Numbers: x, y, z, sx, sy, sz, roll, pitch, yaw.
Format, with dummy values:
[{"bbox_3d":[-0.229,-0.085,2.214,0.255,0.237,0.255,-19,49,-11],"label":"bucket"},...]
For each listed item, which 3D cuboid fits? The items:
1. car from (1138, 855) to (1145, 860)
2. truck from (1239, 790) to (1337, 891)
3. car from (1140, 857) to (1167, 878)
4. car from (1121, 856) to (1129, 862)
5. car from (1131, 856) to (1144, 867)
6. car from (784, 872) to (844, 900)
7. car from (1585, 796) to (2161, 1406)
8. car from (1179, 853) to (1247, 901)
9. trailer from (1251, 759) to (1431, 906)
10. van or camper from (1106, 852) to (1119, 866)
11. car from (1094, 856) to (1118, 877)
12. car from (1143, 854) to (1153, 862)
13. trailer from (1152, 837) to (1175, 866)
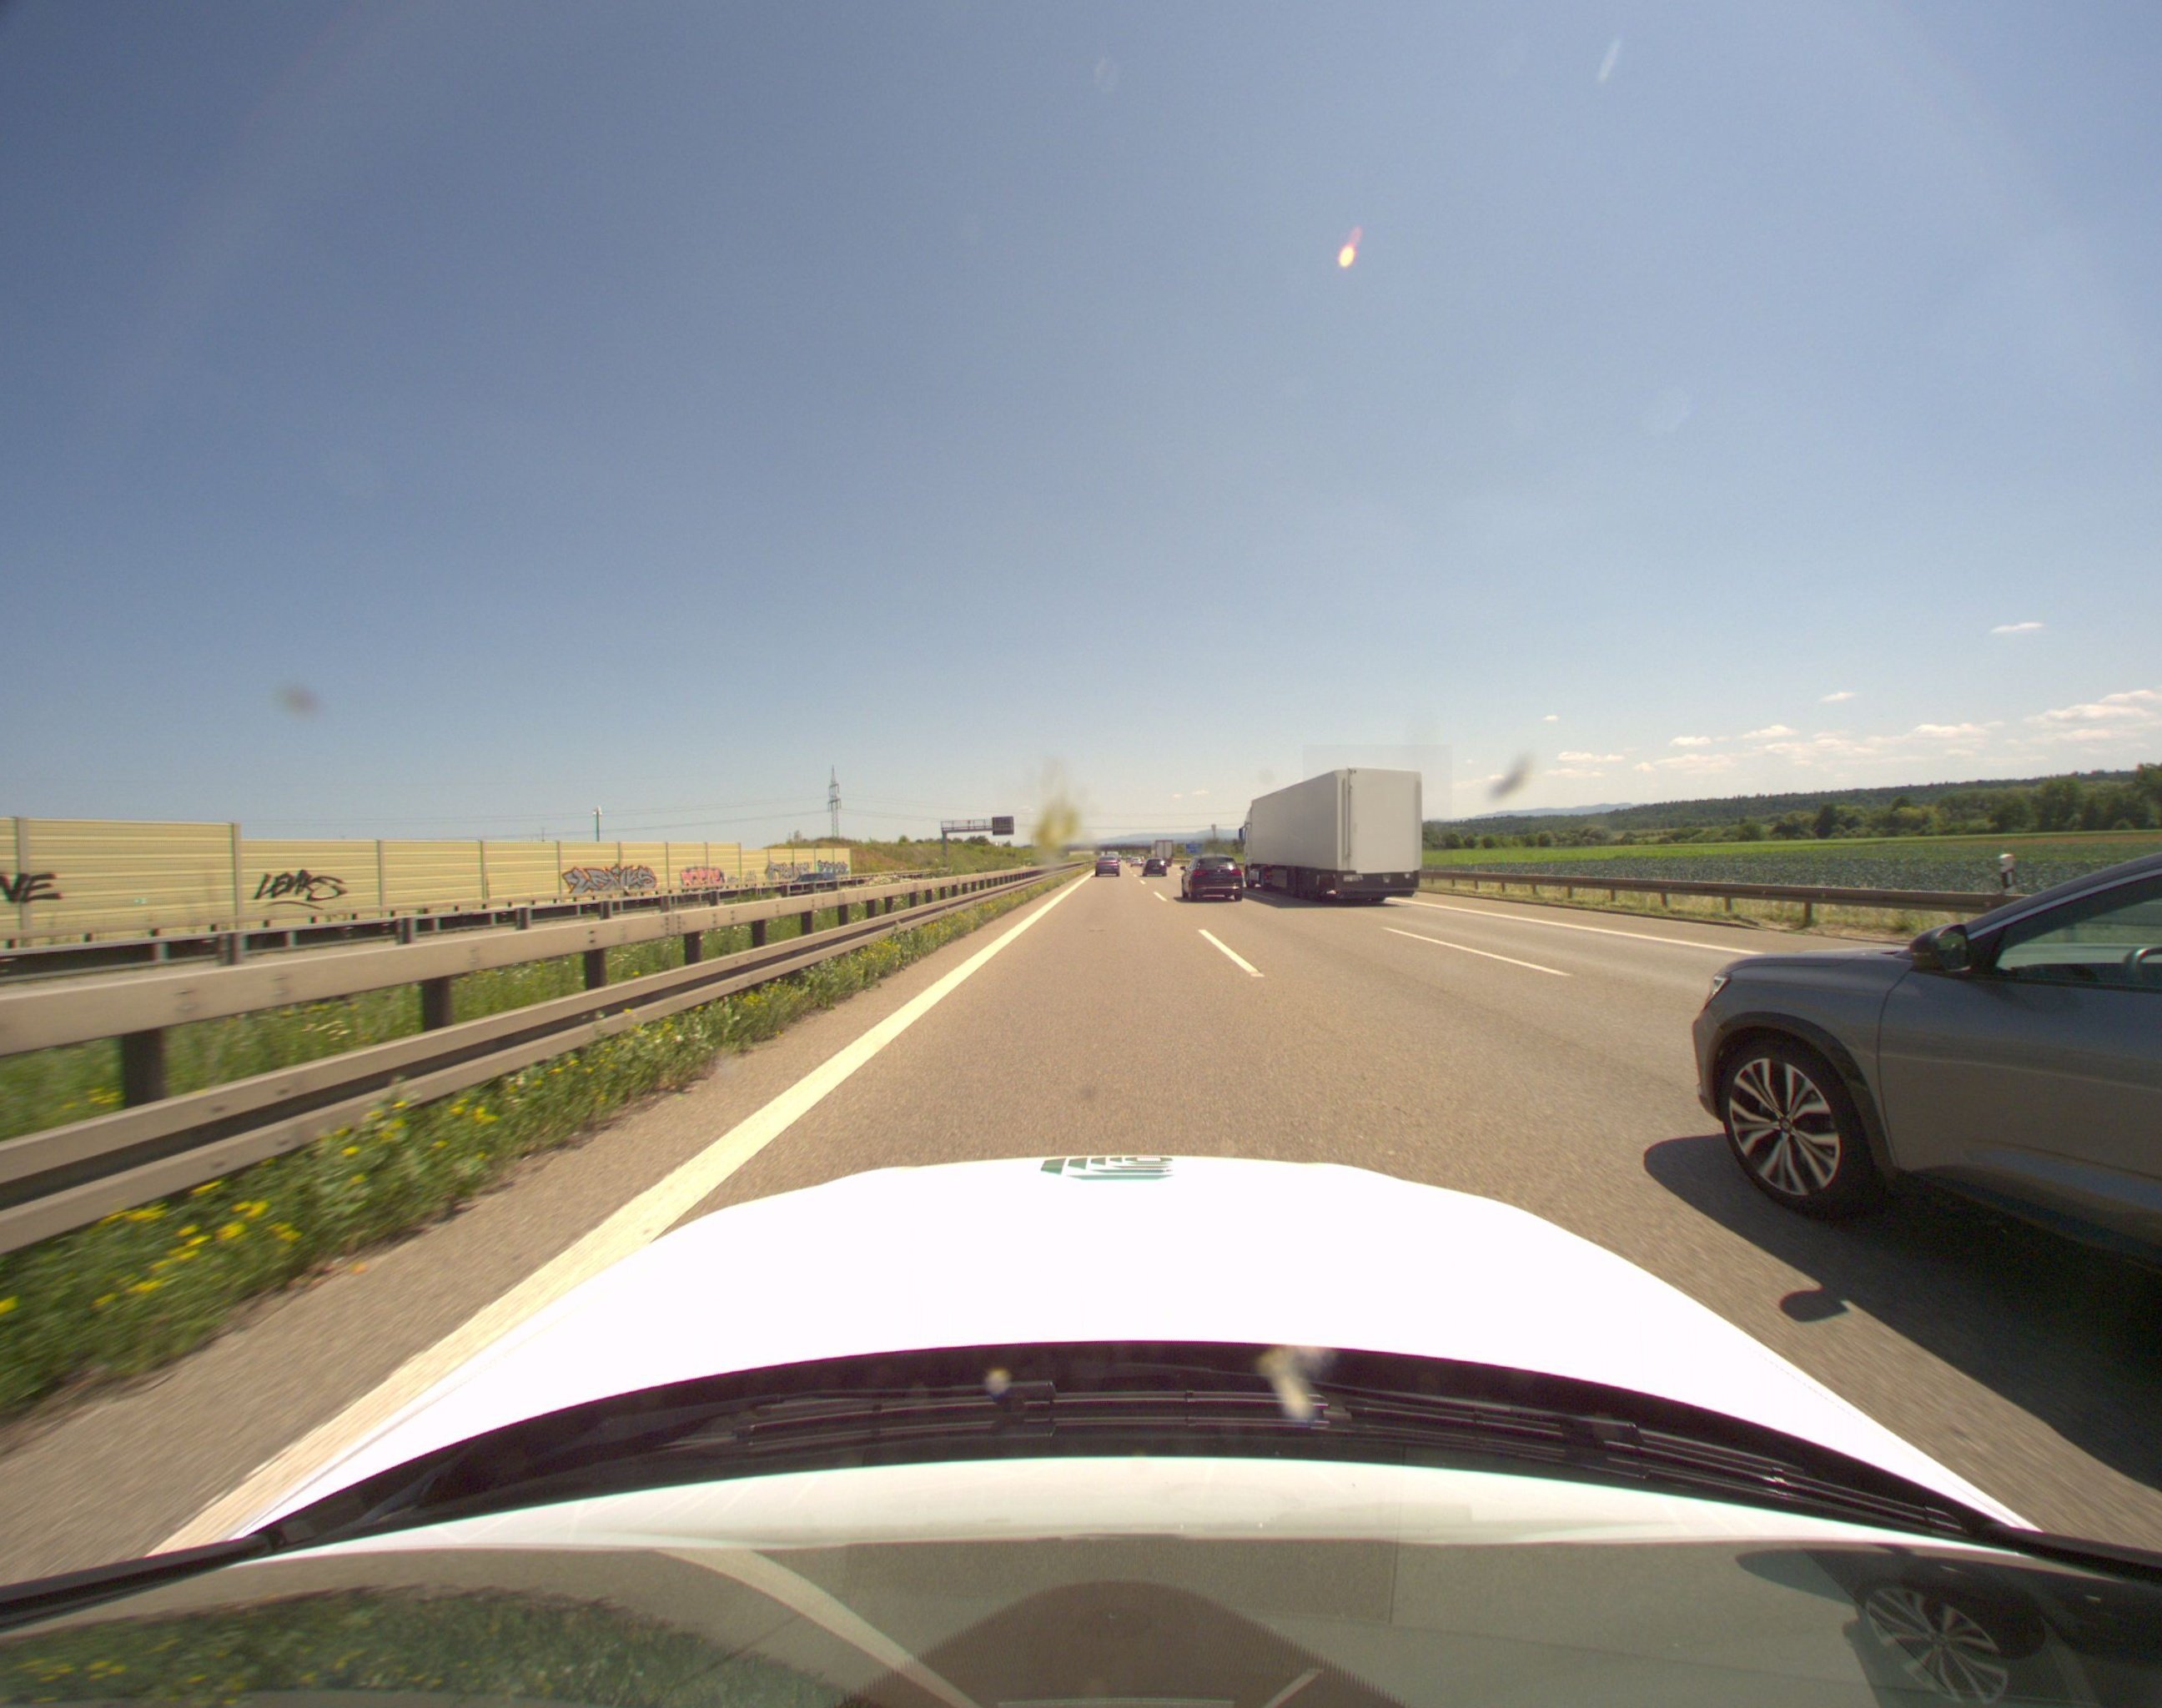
[{"bbox_3d":[18.150,1.077,246.023,1.985,1.683,4.003,0,-1,3],"label":"car"},{"bbox_3d":[9.125,-0.515,36.754,2.852,4.091,6.881,0,-1,2],"label":"truck"},{"bbox_3d":[5.764,1.082,65.029,1.925,1.574,4.937,0,-1,2],"label":"car"},{"bbox_3d":[11.496,1.255,213.330,1.985,1.683,4.003,0,-1,3],"label":"car"},{"bbox_3d":[8.770,1.116,127.483,1.985,1.683,4.003,0,-1,3],"label":"car"},{"bbox_3d":[-14.977,1.756,45.909,1.986,1.420,4.001,-1,0,2],"label":"car"},{"bbox_3d":[3.826,0.641,2.423,1.844,1.648,4.646,-2,0,2],"label":"car"},{"bbox_3d":[4.569,0.765,28.704,1.791,1.562,3.822,0,-1,0],"label":"car"},{"bbox_3d":[8.880,-0.572,30.107,2.857,4.220,13.300,0,-1,2],"label":"trailer"},{"bbox_3d":[5.069,0.816,129.988,2.102,2.211,5.269,0,-1,3],"label":"van or camper"},{"bbox_3d":[2.015,0.989,65.897,1.845,1.664,3.734,0,-1,0],"label":"car"},{"bbox_3d":[14.708,0.957,178.844,1.985,1.683,4.003,0,-1,3],"label":"car"},{"bbox_3d":[12.801,-0.292,127.107,2.931,4.198,13.605,0,-1,3],"label":"trailer"}]
